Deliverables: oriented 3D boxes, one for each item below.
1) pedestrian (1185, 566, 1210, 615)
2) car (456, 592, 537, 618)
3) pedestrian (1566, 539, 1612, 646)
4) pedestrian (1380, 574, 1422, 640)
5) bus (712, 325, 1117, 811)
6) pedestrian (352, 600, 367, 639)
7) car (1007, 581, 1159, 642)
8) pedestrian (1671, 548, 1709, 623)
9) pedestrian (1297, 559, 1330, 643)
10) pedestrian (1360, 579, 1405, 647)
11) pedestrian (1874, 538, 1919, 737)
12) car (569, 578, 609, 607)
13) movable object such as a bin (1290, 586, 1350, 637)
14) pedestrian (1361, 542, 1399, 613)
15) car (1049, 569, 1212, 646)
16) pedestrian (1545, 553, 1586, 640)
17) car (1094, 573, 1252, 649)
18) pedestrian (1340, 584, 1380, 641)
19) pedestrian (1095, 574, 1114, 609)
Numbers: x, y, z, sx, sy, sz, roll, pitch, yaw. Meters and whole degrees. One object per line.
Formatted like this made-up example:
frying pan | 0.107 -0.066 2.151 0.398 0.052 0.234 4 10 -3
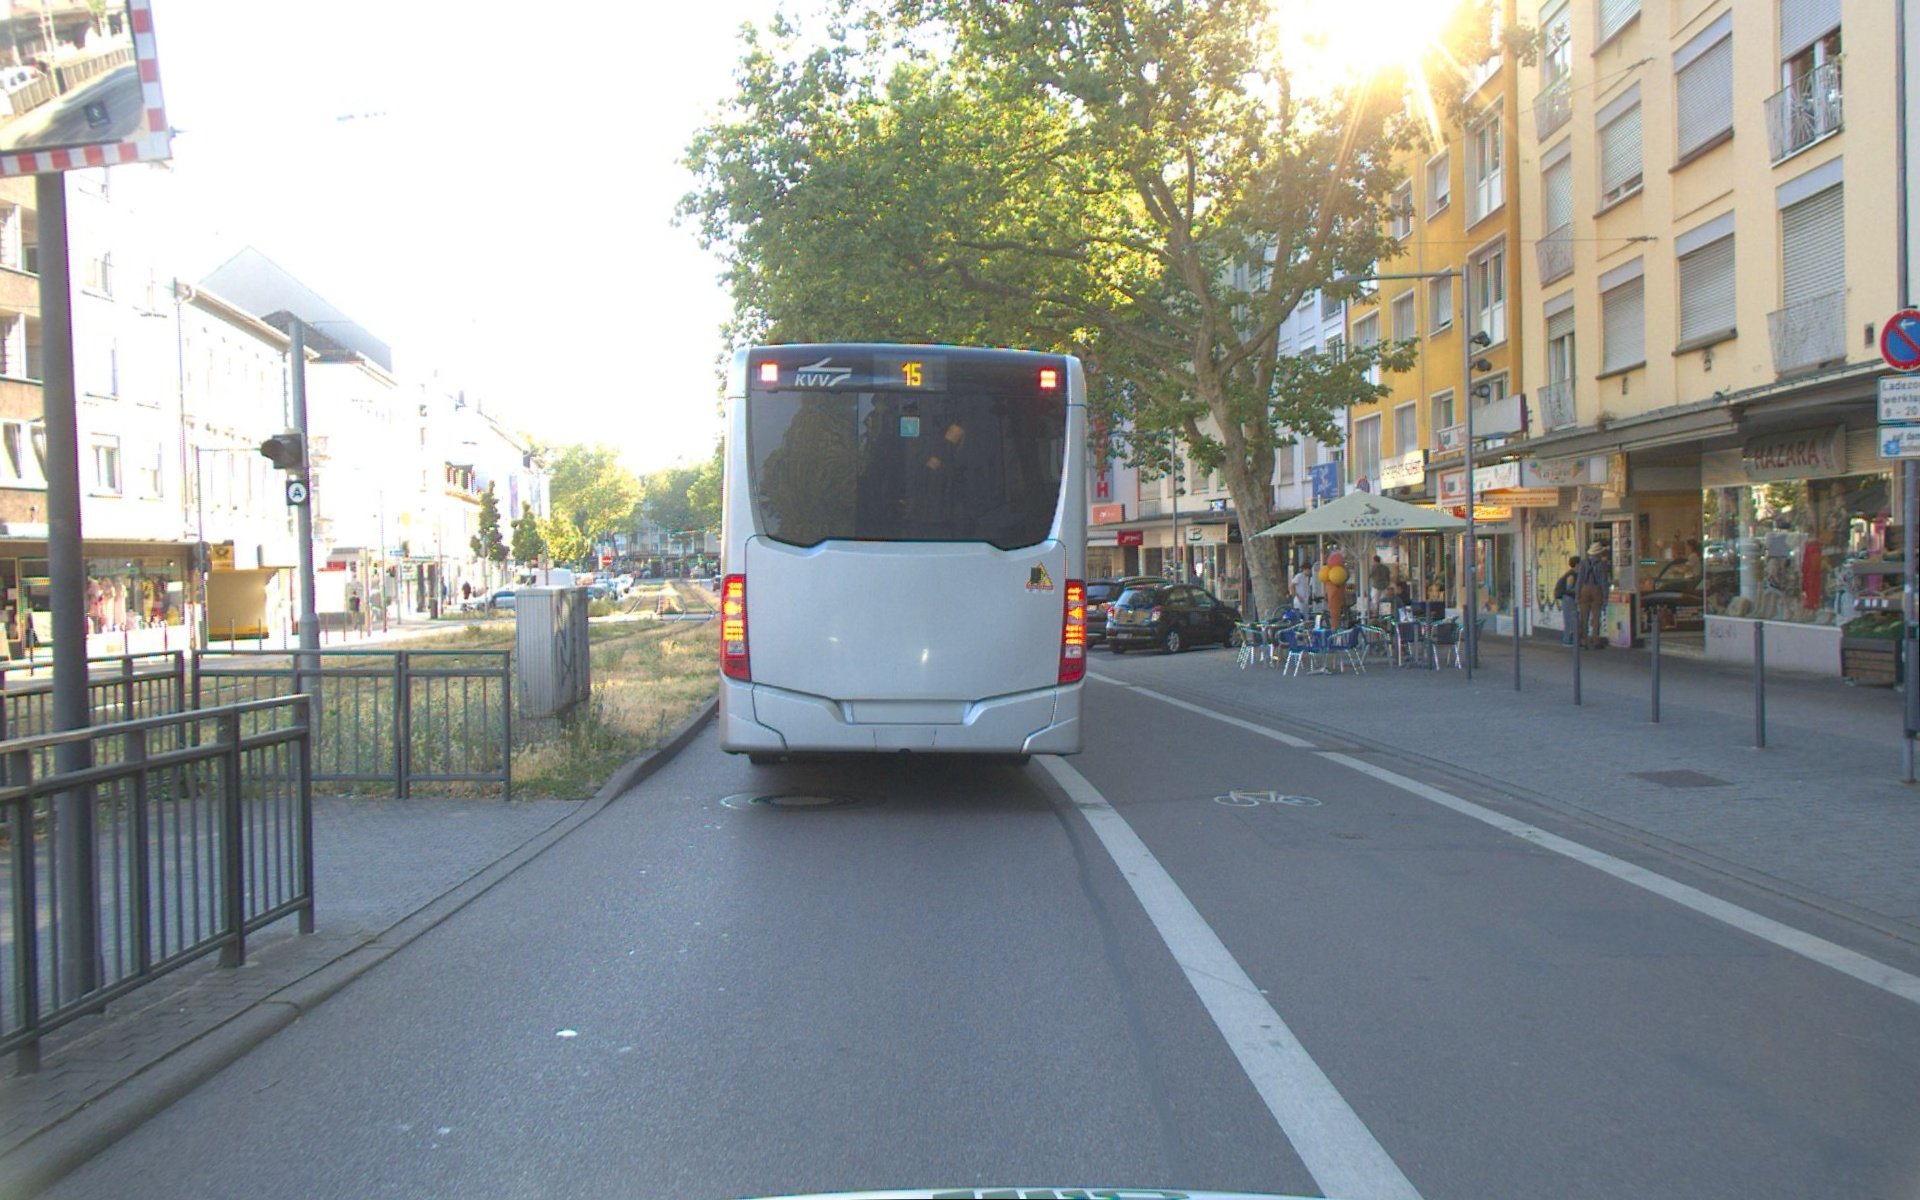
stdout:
pedestrian | 9.079 -0.357 63.185 0.765 1.825 0.763 -1 0 -5
car | -28.978 0.306 103.533 4.513 1.437 1.970 -2 1 -42
pedestrian | 11.003 -0.130 28.922 0.623 1.835 0.625 -1 1 31
pedestrian | 8.733 0.136 32.789 0.571 1.297 0.758 0 0 -5
bus | -0.432 -0.275 14.299 2.624 3.137 7.111 0 1 -2
pedestrian | -27.340 0.900 75.313 0.417 1.743 0.508 -1 0 -1
car | 3.365 0.293 44.817 4.144 1.476 1.781 -2 1 -43
pedestrian | 13.142 -0.262 29.781 0.417 1.319 0.508 -2 0 -1
pedestrian | 7.960 0.028 37.286 0.509 1.864 0.471 -2 0 -27
pedestrian | 7.947 0.230 31.102 0.594 1.246 0.744 -1 1 -5
pedestrian | 8.107 0.293 13.715 0.622 1.614 0.627 -3 0 1
car | -21.735 -0.464 96.902 1.689 1.535 3.473 -4 1 -4
movable object such as a bin | 7.495 0.227 34.475 0.915 1.041 0.832 0 1 -27
pedestrian | 11.297 -0.605 44.521 0.692 1.822 0.788 -4 1 1
car | 4.180 0.151 40.173 1.779 1.710 4.123 -1 1 44
pedestrian | 11.128 -0.067 30.404 0.612 1.573 0.637 -1 1 26
car | 4.825 0.226 37.196 1.712 1.567 3.584 -1 1 44
pedestrian | 8.093 0.250 33.474 0.571 1.135 0.750 0 0 -5
pedestrian | 7.107 -0.418 81.410 0.734 1.708 0.833 -1 3 -11
